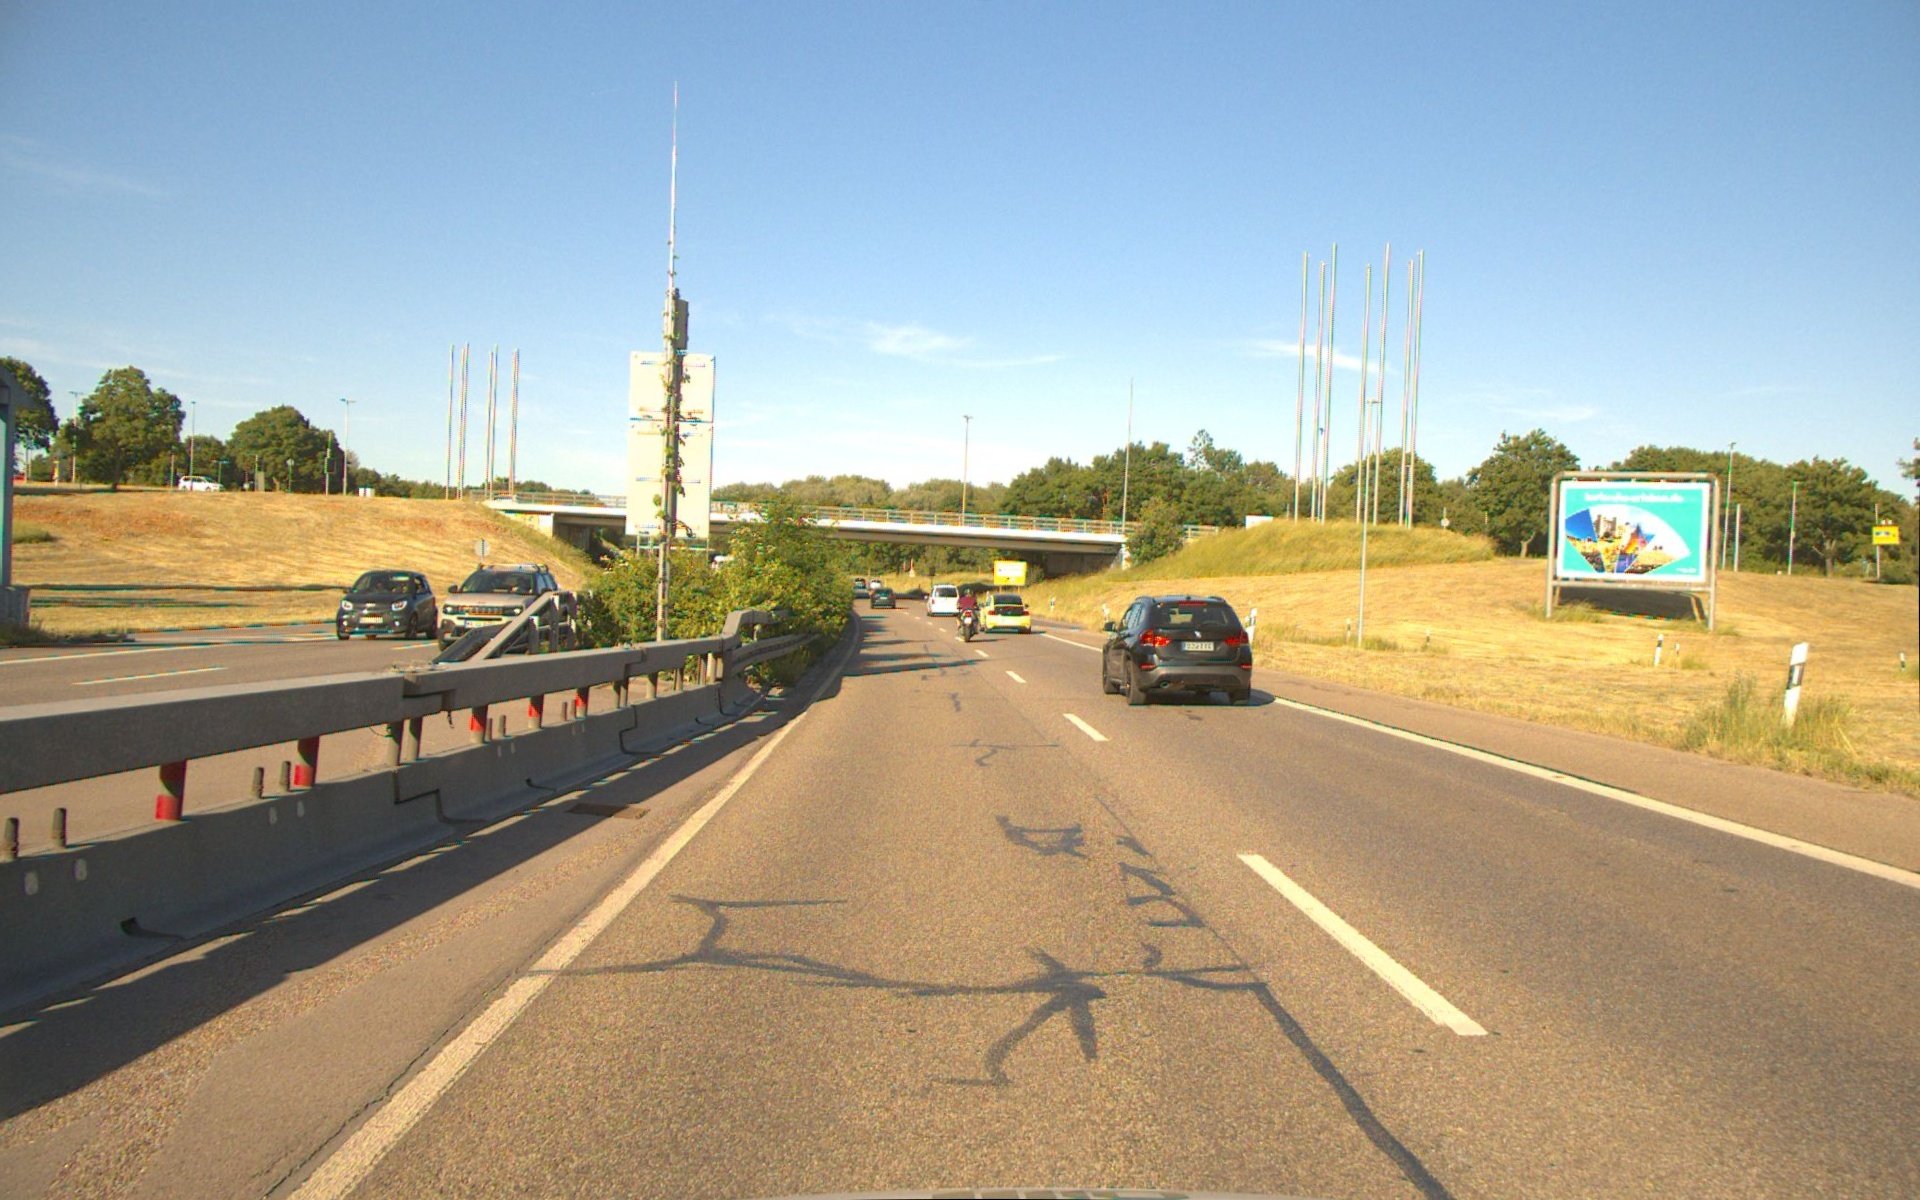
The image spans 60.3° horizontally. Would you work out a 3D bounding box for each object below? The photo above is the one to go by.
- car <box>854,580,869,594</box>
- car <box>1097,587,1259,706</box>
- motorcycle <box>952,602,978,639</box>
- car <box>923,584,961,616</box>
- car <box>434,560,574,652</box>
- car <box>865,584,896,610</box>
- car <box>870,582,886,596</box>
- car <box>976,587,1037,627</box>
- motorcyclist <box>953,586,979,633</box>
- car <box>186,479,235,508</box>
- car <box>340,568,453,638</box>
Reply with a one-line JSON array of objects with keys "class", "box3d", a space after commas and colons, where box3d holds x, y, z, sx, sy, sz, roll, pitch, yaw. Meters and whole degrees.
[{"class": "car", "box3d": [-13.323, -1.765, 224.725, 1.831, 1.714, 3.999, 2, 0, -2]}, {"class": "car", "box3d": [3.170, 0.618, 24.837, 1.665, 1.532, 4.578, 0, 1, -2]}, {"class": "motorcycle", "box3d": [0.169, 0.626, 52.796, 0.800, 1.088, 2.836, 1, 1, 0]}, {"class": "car", "box3d": [-1.045, -0.046, 95.468, 1.860, 1.798, 3.995, 0, 1, -6]}, {"class": "car", "box3d": [-8.556, 0.087, 31.360, 1.682, 1.602, 4.161, 1, 0, -3]}, {"class": "car", "box3d": [-5.600, -0.227, 116.108, 1.861, 1.797, 3.994, 0, 1, -8]}, {"class": "car", "box3d": [-10.269, -1.387, 206.735, 1.831, 1.714, 4.000, 2, 0, -1]}, {"class": "car", "box3d": [1.776, 0.248, 64.095, 1.860, 1.496, 3.995, 0, 1, -6]}, {"class": "motorcyclist", "box3d": [0.175, 0.300, 52.863, 0.800, 1.472, 1.093, 1, 1, 0]}, {"class": "car", "box3d": [-77.912, -11.039, 171.957, 4.219, 2.854, 2.082, 2, 1, 18]}, {"class": "car", "box3d": [-12.858, 0.046, 37.930, 1.577, 1.511, 3.390, 1, 0, -3]}]
